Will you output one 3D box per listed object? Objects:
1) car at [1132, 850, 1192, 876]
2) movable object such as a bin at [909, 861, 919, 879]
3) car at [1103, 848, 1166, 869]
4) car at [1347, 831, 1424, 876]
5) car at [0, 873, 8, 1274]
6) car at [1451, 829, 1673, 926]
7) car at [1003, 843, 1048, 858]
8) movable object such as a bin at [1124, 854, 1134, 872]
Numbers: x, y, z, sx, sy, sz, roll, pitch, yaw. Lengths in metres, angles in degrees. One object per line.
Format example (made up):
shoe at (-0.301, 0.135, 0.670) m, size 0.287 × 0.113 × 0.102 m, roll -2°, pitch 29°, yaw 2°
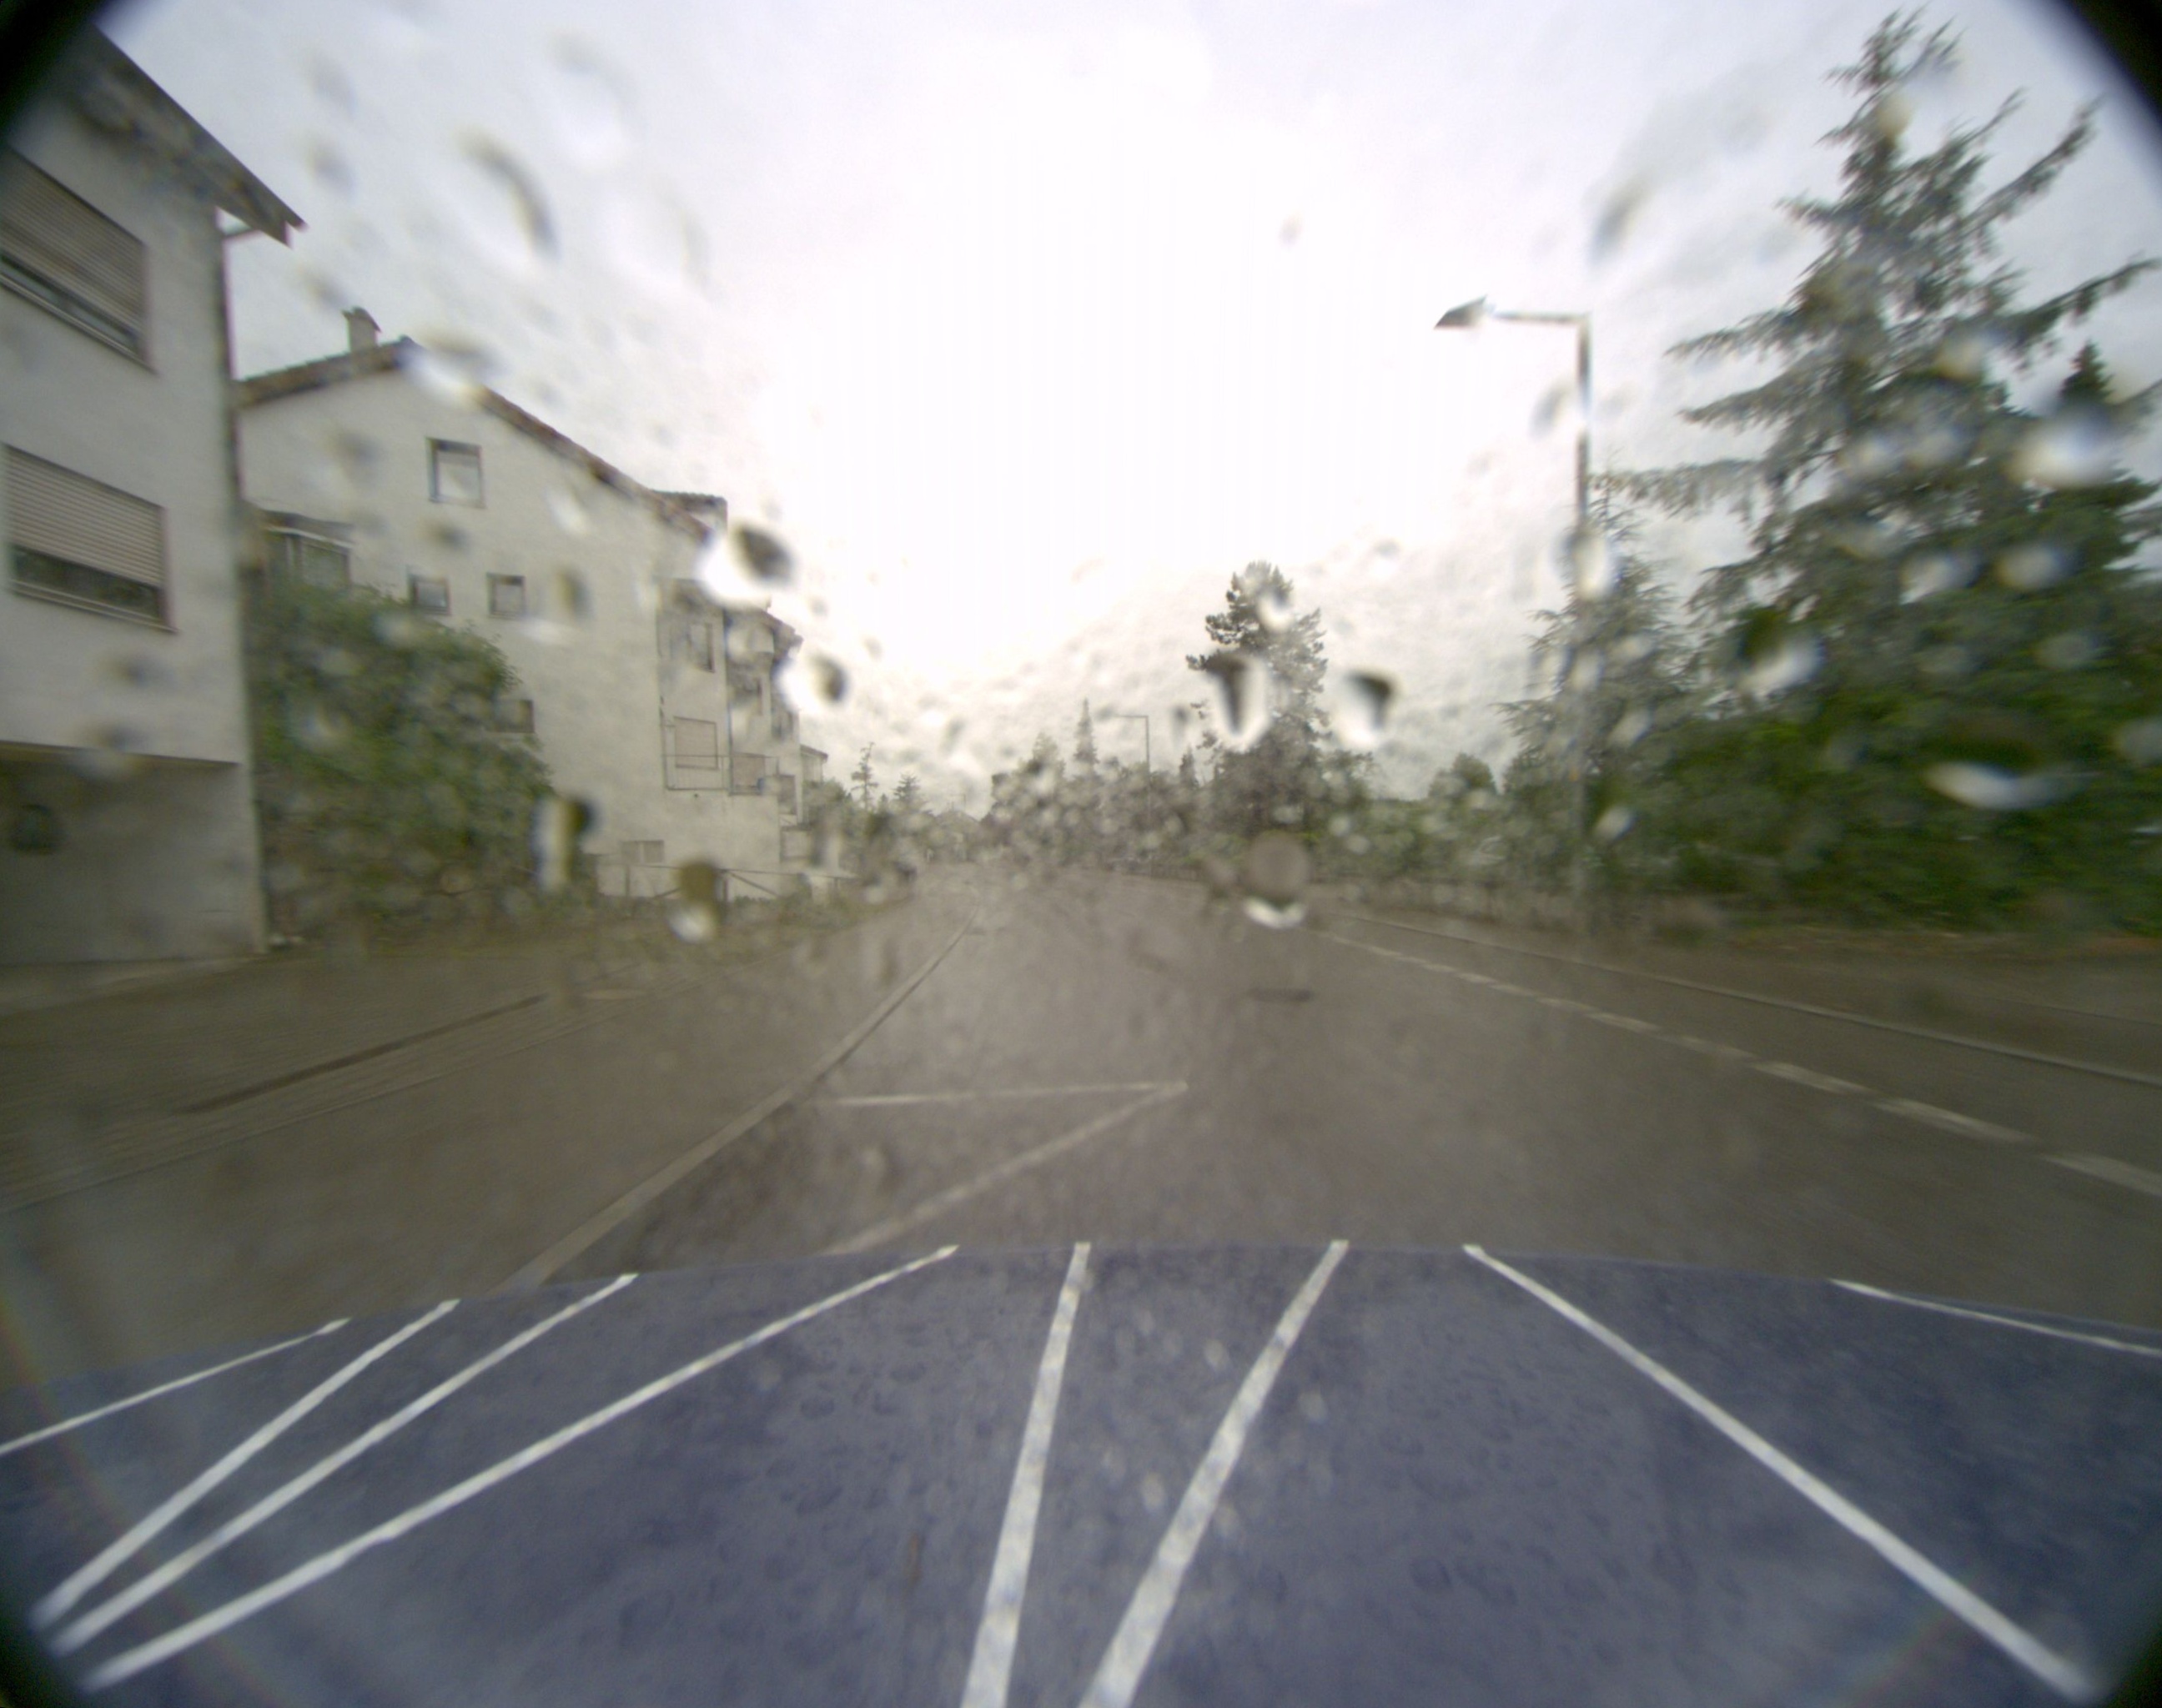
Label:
car at (4.438, 0.448, 42.292) m, size 2.001 × 1.300 × 4.428 m, roll -2°, pitch 1°, yaw -12°
movable object such as a bin at (-8.913, 0.856, 40.543) m, size 0.493 × 0.917 × 0.457 m, roll -2°, pitch 1°, yaw -11°
car at (3.628, 0.276, 52.009) m, size 3.999 × 1.264 × 1.872 m, roll -2°, pitch 1°, yaw -7°
car at (11.725, -0.043, 29.551) m, size 1.997 × 1.565 × 4.003 m, roll -2°, pitch 1°, yaw 11°
car at (-4.640, 0.794, 0.691) m, size 1.709 × 1.446 × 4.019 m, roll 1°, pitch 1°, yaw -3°
car at (8.859, 0.354, 14.467) m, size 1.739 × 1.542 × 3.999 m, roll -2°, pitch 1°, yaw 1°
car at (-6.025, -0.380, 82.551) m, size 4.560 × 1.467 × 1.835 m, roll -3°, pitch 2°, yaw -26°
movable object such as a bin at (2.702, 0.522, 42.738) m, size 0.371 × 0.982 × 0.558 m, roll -2°, pitch 1°, yaw -14°
